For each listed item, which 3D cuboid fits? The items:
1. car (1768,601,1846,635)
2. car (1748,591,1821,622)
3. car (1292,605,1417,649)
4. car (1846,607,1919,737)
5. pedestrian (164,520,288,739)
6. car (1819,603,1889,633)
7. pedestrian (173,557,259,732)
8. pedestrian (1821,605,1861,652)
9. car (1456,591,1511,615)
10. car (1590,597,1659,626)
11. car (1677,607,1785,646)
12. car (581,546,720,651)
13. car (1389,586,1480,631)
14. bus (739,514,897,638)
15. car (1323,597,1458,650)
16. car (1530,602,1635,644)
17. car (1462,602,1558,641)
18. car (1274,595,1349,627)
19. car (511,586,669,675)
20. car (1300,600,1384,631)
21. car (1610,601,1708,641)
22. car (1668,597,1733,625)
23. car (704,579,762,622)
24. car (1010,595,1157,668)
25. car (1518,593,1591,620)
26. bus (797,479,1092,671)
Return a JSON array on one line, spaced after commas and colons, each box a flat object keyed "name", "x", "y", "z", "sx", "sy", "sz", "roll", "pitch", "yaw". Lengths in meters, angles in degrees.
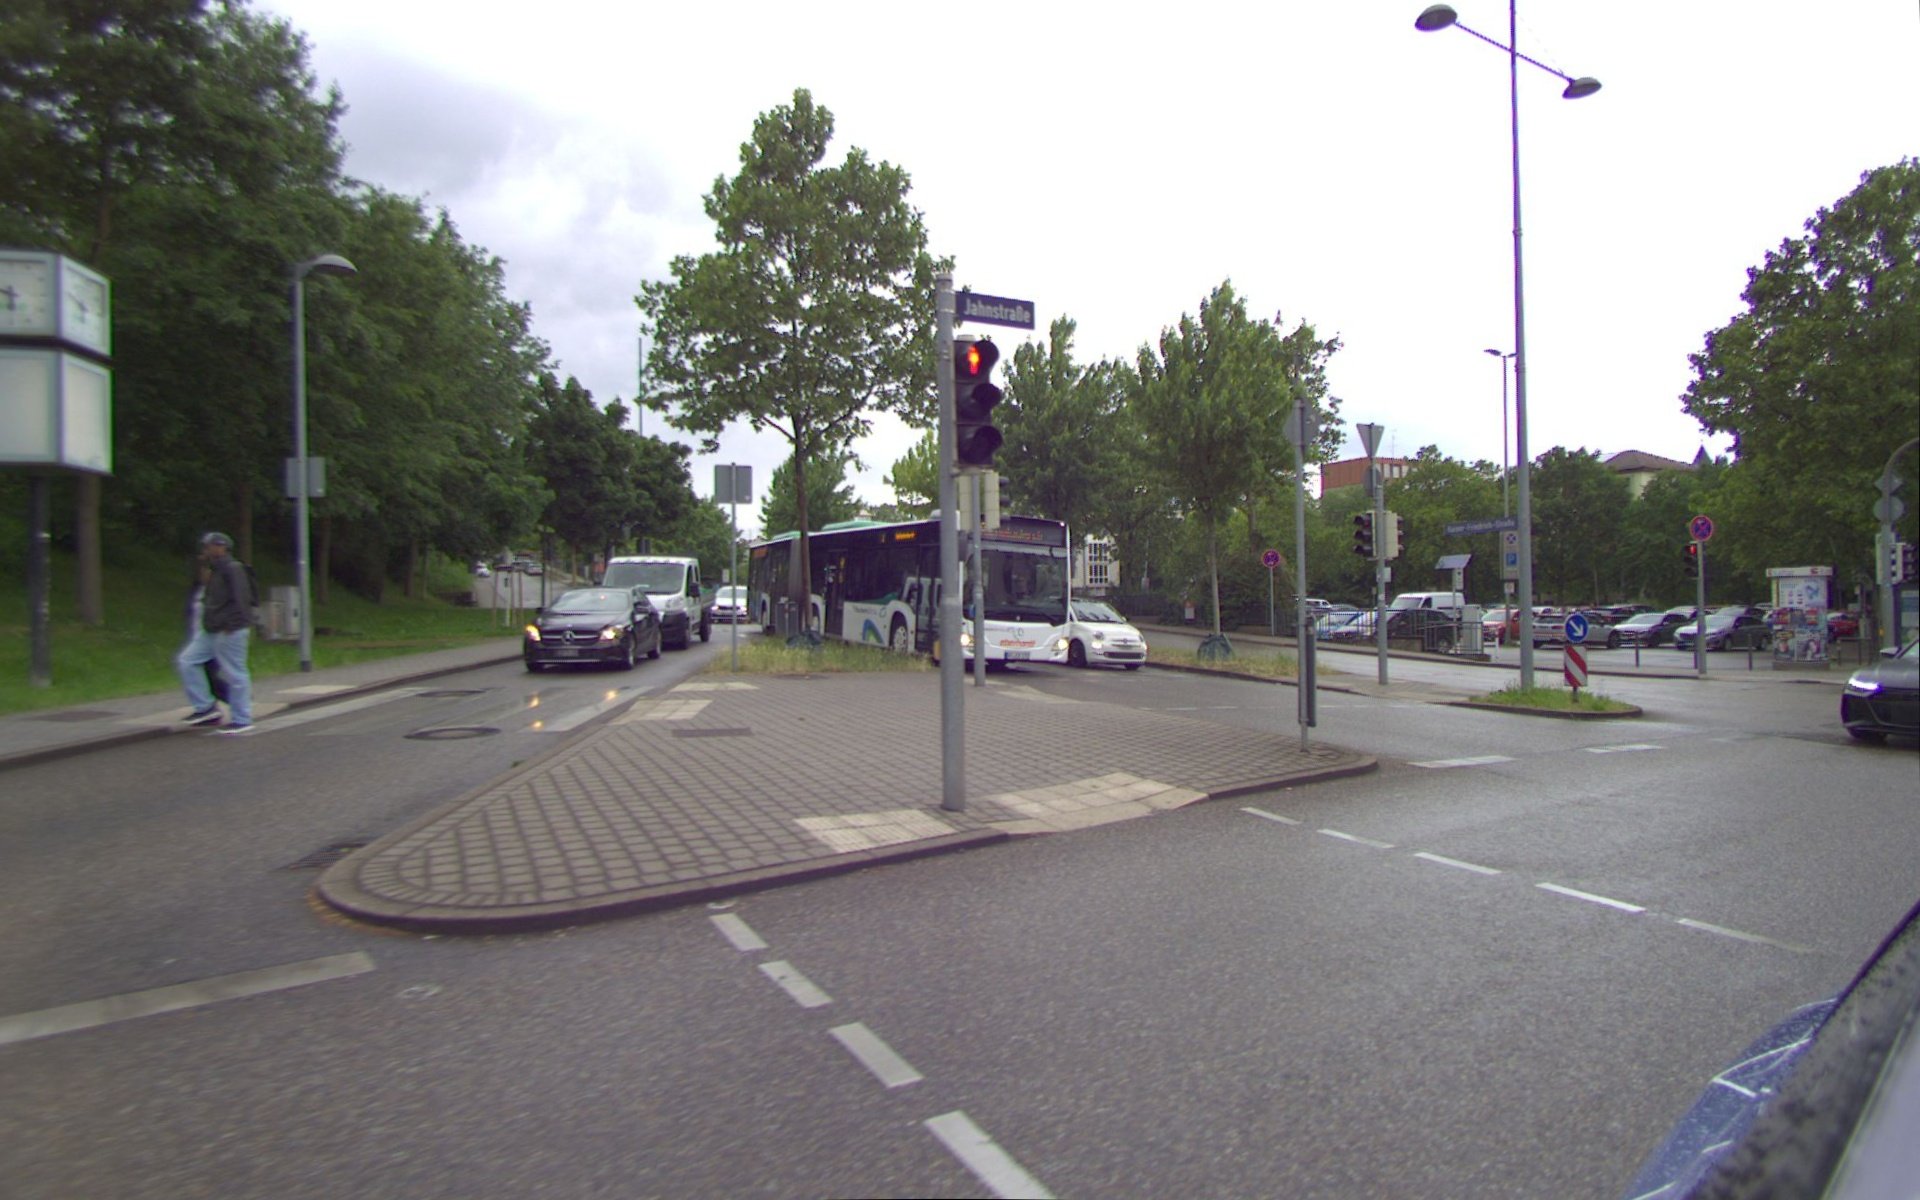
[{"name": "car", "x": 39.685, "y": 0.839, "z": 47.429, "sx": 3.288, "sy": 1.440, "sz": 1.642, "roll": -2, "pitch": -1, "yaw": -28}, {"name": "car", "x": 50.437, "y": 0.372, "z": 61.913, "sx": 4.354, "sy": 1.710, "sz": 1.784, "roll": -2, "pitch": -1, "yaw": -27}, {"name": "car", "x": 14.200, "y": 0.928, "z": 36.391, "sx": 4.175, "sy": 1.458, "sz": 1.859, "roll": -1, "pitch": 0, "yaw": -27}, {"name": "car", "x": 12.849, "y": 0.809, "z": 12.250, "sx": 4.273, "sy": 1.422, "sz": 1.900, "roll": -1, "pitch": 1, "yaw": -30}, {"name": "pedestrian", "x": -7.130, "y": 0.264, "z": 9.860, "sx": 0.579, "sy": 2.039, "sz": 0.784, "roll": 1, "pitch": 0, "yaw": 12}, {"name": "car", "x": 44.263, "y": 0.854, "z": 50.104, "sx": 3.761, "sy": 1.445, "sz": 1.534, "roll": 0, "pitch": 0, "yaw": -31}, {"name": "pedestrian", "x": -7.579, "y": 0.429, "z": 10.315, "sx": 0.553, "sy": 1.727, "sz": 0.523, "roll": 1, "pitch": 0, "yaw": 29}, {"name": "pedestrian", "x": 31.565, "y": 1.027, "z": 36.245, "sx": 0.843, "sy": 1.653, "sz": 0.769, "roll": 0, "pitch": -1, "yaw": -24}, {"name": "car", "x": 35.898, "y": 0.200, "z": 69.439, "sx": 3.536, "sy": 1.612, "sz": 1.535, "roll": 0, "pitch": 0, "yaw": -26}, {"name": "car", "x": 35.617, "y": 0.617, "z": 54.246, "sx": 3.558, "sy": 1.523, "sz": 1.535, "roll": 0, "pitch": 0, "yaw": -27}, {"name": "car", "x": 30.876, "y": 1.033, "z": 40.492, "sx": 4.353, "sy": 1.458, "sz": 1.741, "roll": 0, "pitch": 0, "yaw": -27}, {"name": "car", "x": -7.502, "y": -0.095, "z": 25.235, "sx": 2.210, "sy": 2.262, "sz": 6.351, "roll": -1, "pitch": 1, "yaw": -7}, {"name": "car", "x": 25.528, "y": 0.454, "z": 54.444, "sx": 4.912, "sy": 2.349, "sz": 1.975, "roll": 0, "pitch": 0, "yaw": -30}, {"name": "bus", "x": -4.565, "y": -0.561, "z": 30.680, "sx": 2.631, "sy": 3.221, "sz": 8.575, "roll": 1, "pitch": -1, "yaw": -23}, {"name": "car", "x": 14.199, "y": 0.732, "z": 33.338, "sx": 4.175, "sy": 1.633, "sz": 1.808, "roll": -1, "pitch": 0, "yaw": -27}, {"name": "car", "x": 25.343, "y": 0.911, "z": 41.199, "sx": 4.091, "sy": 1.611, "sz": 1.765, "roll": 0, "pitch": 0, "yaw": -27}, {"name": "car", "x": 23.870, "y": 0.911, "z": 43.896, "sx": 3.918, "sy": 1.611, "sz": 1.765, "roll": 0, "pitch": 0, "yaw": -27}, {"name": "car", "x": 20.912, "y": 0.615, "z": 60.211, "sx": 4.275, "sy": 1.853, "sz": 1.837, "roll": 0, "pitch": 0, "yaw": -28}, {"name": "car", "x": -6.550, "y": 0.460, "z": 18.385, "sx": 1.759, "sy": 1.391, "sz": 4.102, "roll": -1, "pitch": 1, "yaw": -6}, {"name": "car", "x": 19.739, "y": 0.780, "z": 52.258, "sx": 3.916, "sy": 1.586, "sz": 1.766, "roll": 0, "pitch": 0, "yaw": -22}, {"name": "car", "x": 29.684, "y": 0.871, "z": 42.985, "sx": 3.918, "sy": 1.611, "sz": 1.765, "roll": 0, "pitch": 0, "yaw": -27}, {"name": "car", "x": 41.823, "y": 0.603, "z": 57.137, "sx": 3.558, "sy": 1.578, "sz": 1.535, "roll": 0, "pitch": 0, "yaw": -27}, {"name": "car", "x": -9.299, "y": 0.023, "z": 41.719, "sx": 1.959, "sy": 1.673, "sz": 4.882, "roll": -1, "pitch": 0, "yaw": -8}, {"name": "car", "x": 2.643, "y": 0.660, "z": 22.423, "sx": 1.557, "sy": 1.470, "sz": 3.574, "roll": 1, "pitch": -1, "yaw": -25}, {"name": "car", "x": 37.789, "y": 0.393, "z": 64.303, "sx": 4.537, "sy": 1.691, "sz": 1.975, "roll": 0, "pitch": 0, "yaw": -30}, {"name": "bus", "x": -0.899, "y": -0.562, "z": 22.404, "sx": 2.649, "sy": 3.257, "sz": 9.678, "roll": 3, "pitch": 1, "yaw": -25}]
